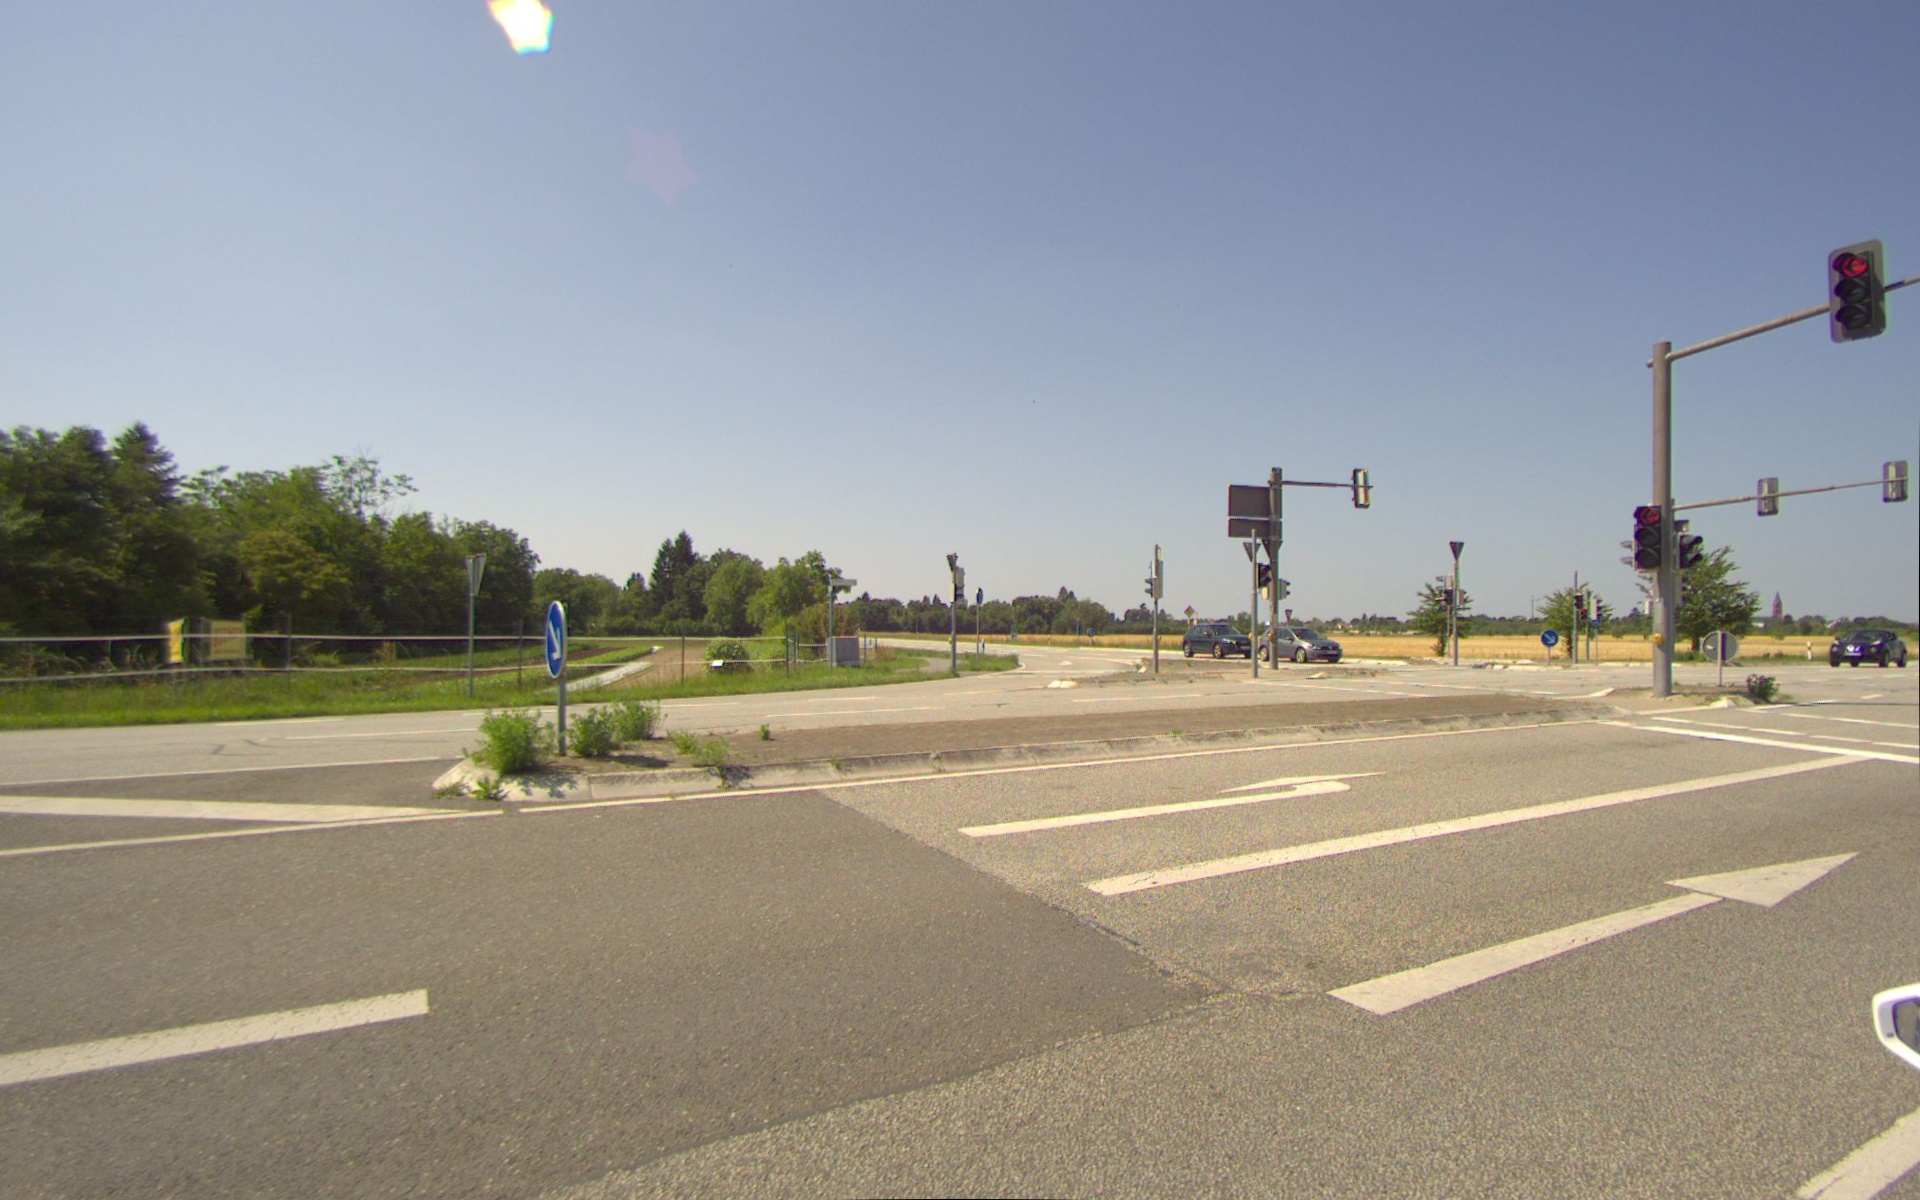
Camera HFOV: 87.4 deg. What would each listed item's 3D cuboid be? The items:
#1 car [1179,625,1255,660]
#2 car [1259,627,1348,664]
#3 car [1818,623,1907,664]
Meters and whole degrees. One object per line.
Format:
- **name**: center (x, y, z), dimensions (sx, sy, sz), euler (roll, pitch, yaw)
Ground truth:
- **car**: center (12.187, 2.019, 47.921), dimensions (1.607, 1.615, 4.358), euler (1, -2, -14)
- **car**: center (14.246, 1.866, 41.898), dimensions (1.608, 1.405, 3.867), euler (0, -1, -16)
- **car**: center (37.304, 1.804, 41.480), dimensions (4.262, 1.621, 1.818), euler (2, -3, -35)
